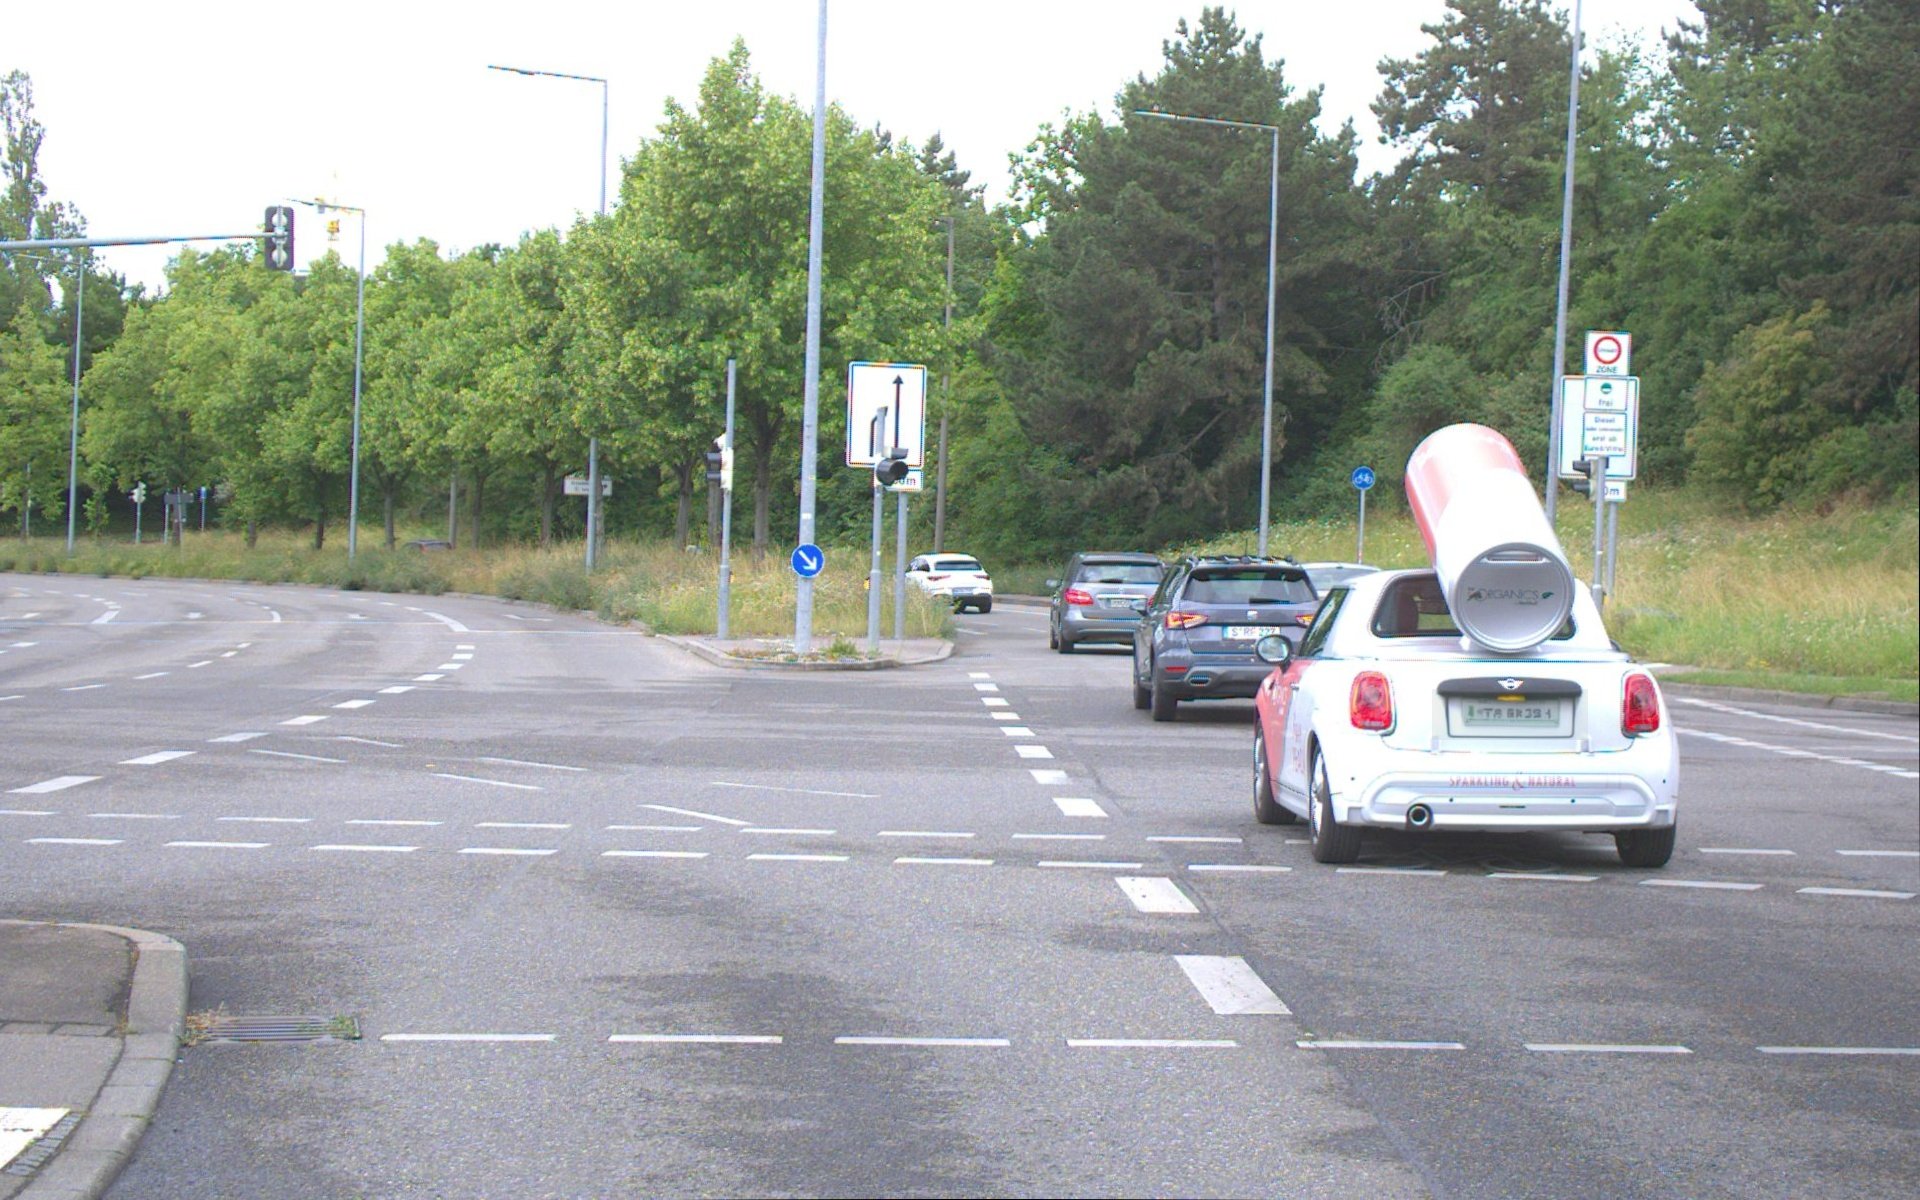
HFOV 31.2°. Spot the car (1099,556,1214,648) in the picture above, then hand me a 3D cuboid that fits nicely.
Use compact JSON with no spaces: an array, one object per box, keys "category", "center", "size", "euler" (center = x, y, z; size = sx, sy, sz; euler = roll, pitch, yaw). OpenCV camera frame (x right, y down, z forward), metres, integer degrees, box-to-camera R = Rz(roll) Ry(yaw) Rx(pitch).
[{"category":"car","center":[3.480,0.004,61.470],"size":[1.746,1.480,4.356],"euler":[1,2,-1]}]

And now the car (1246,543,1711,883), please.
[{"category":"car","center":[2.516,0.490,17.469],"size":[1.821,1.500,3.495],"euler":[1,1,0]}]

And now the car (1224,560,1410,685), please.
[{"category":"car","center":[4.302,0.232,41.984],"size":[1.746,1.378,4.291],"euler":[1,1,-1]}]

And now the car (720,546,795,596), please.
[{"category":"car","center":[-6.296,-0.904,106.886],"size":[1.591,1.511,2.767],"euler":[1,0,-20]}]

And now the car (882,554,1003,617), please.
[{"category":"car","center":[-0.455,-0.380,84.953],"size":[1.843,1.501,4.532],"euler":[1,0,-16]}]

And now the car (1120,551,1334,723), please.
[{"category":"car","center":[2.477,0.307,32.628],"size":[1.624,1.488,3.837],"euler":[1,1,-1]}]

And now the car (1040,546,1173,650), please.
[{"category":"car","center":[2.188,-0.059,52.360],"size":[1.746,1.503,4.048],"euler":[1,1,-1]}]
